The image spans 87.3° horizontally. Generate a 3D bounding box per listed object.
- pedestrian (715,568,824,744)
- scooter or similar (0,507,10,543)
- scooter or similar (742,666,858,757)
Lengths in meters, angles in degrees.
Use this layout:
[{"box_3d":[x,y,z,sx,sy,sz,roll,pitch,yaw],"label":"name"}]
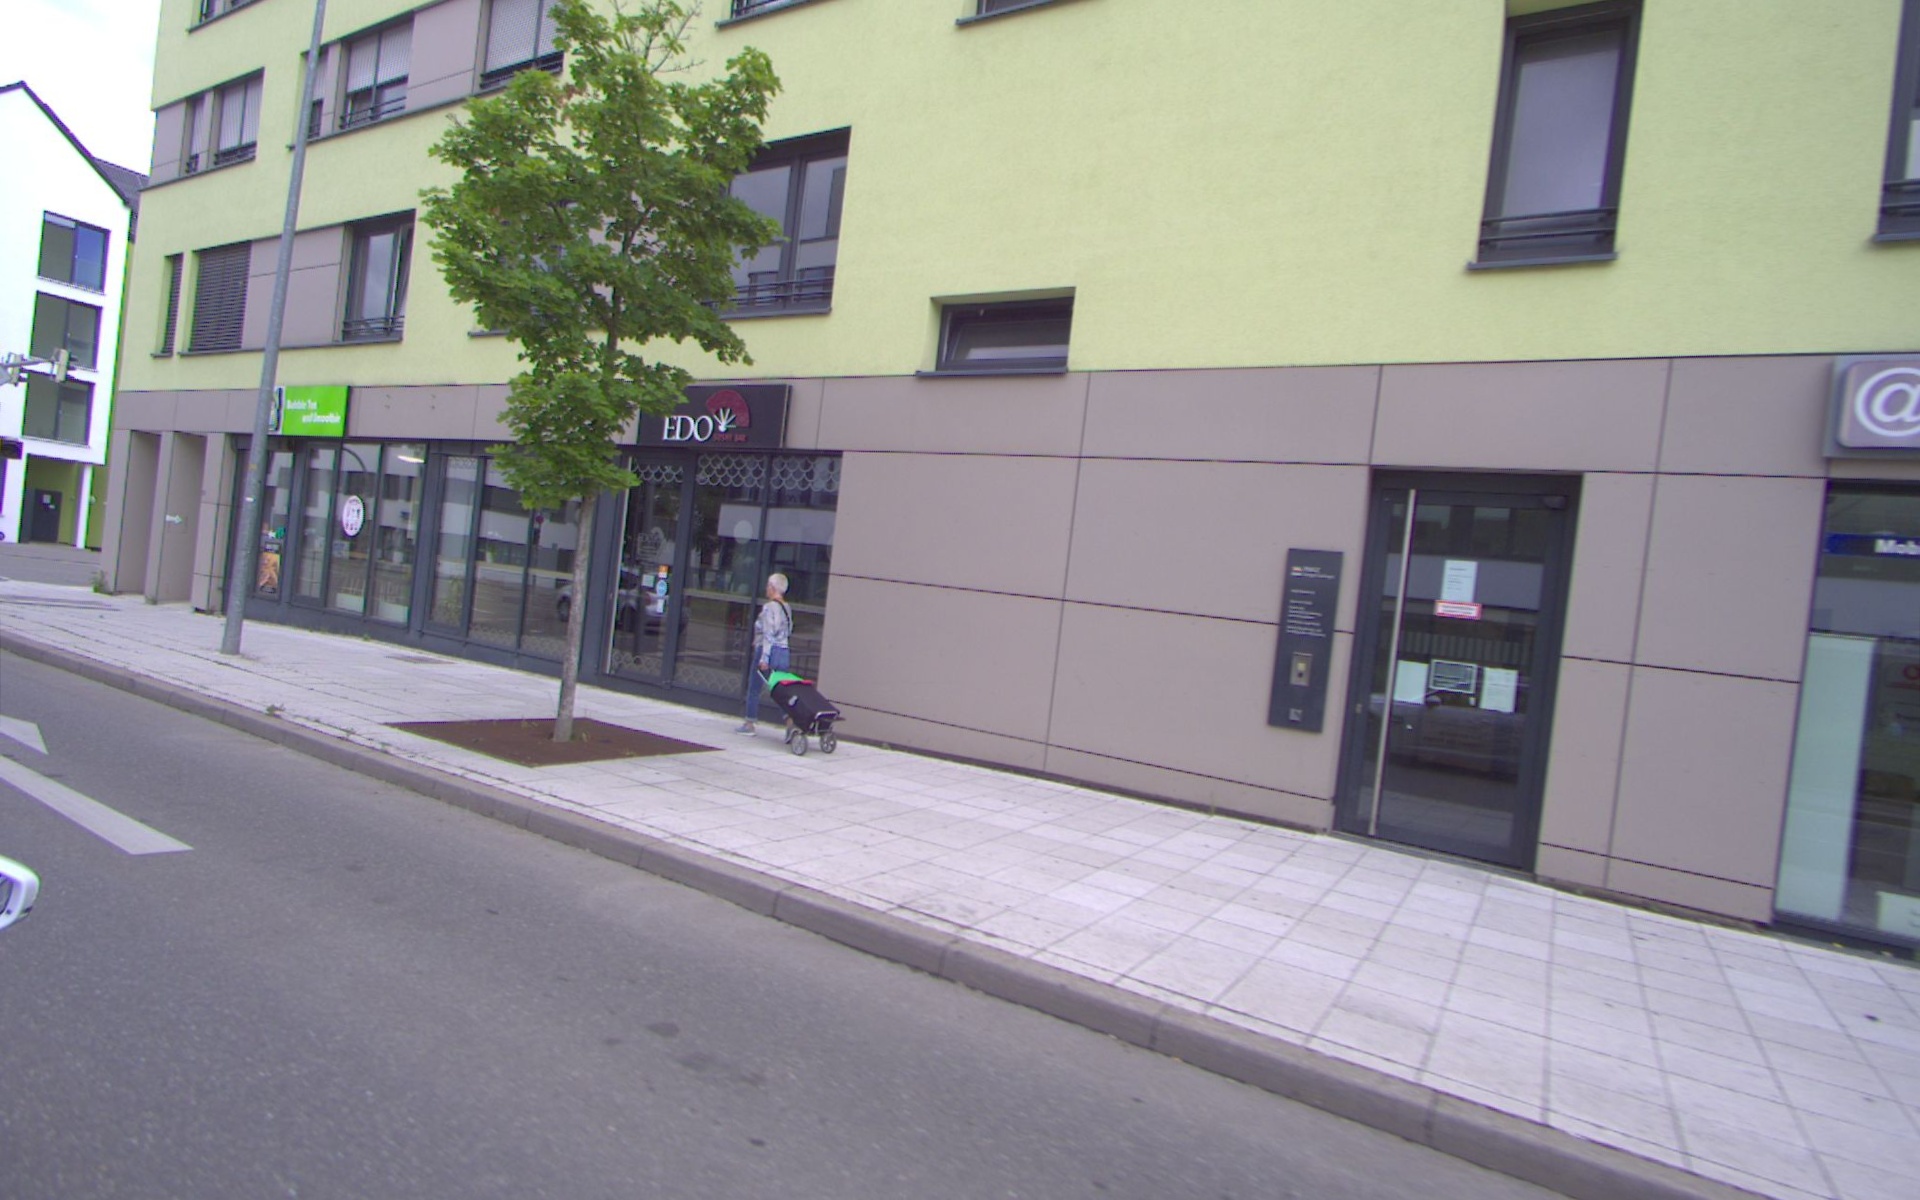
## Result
[{"box_3d":[-1.864,0.540,9.880,0.593,1.614,0.696,7,2,31],"label":"pedestrian"},{"box_3d":[-35.065,-2.787,36.114,0.400,1.249,1.232,7,-1,32],"label":"scooter or similar"},{"box_3d":[-1.472,1.005,9.252,0.810,0.681,0.592,7,2,31],"label":"scooter or similar"}]
